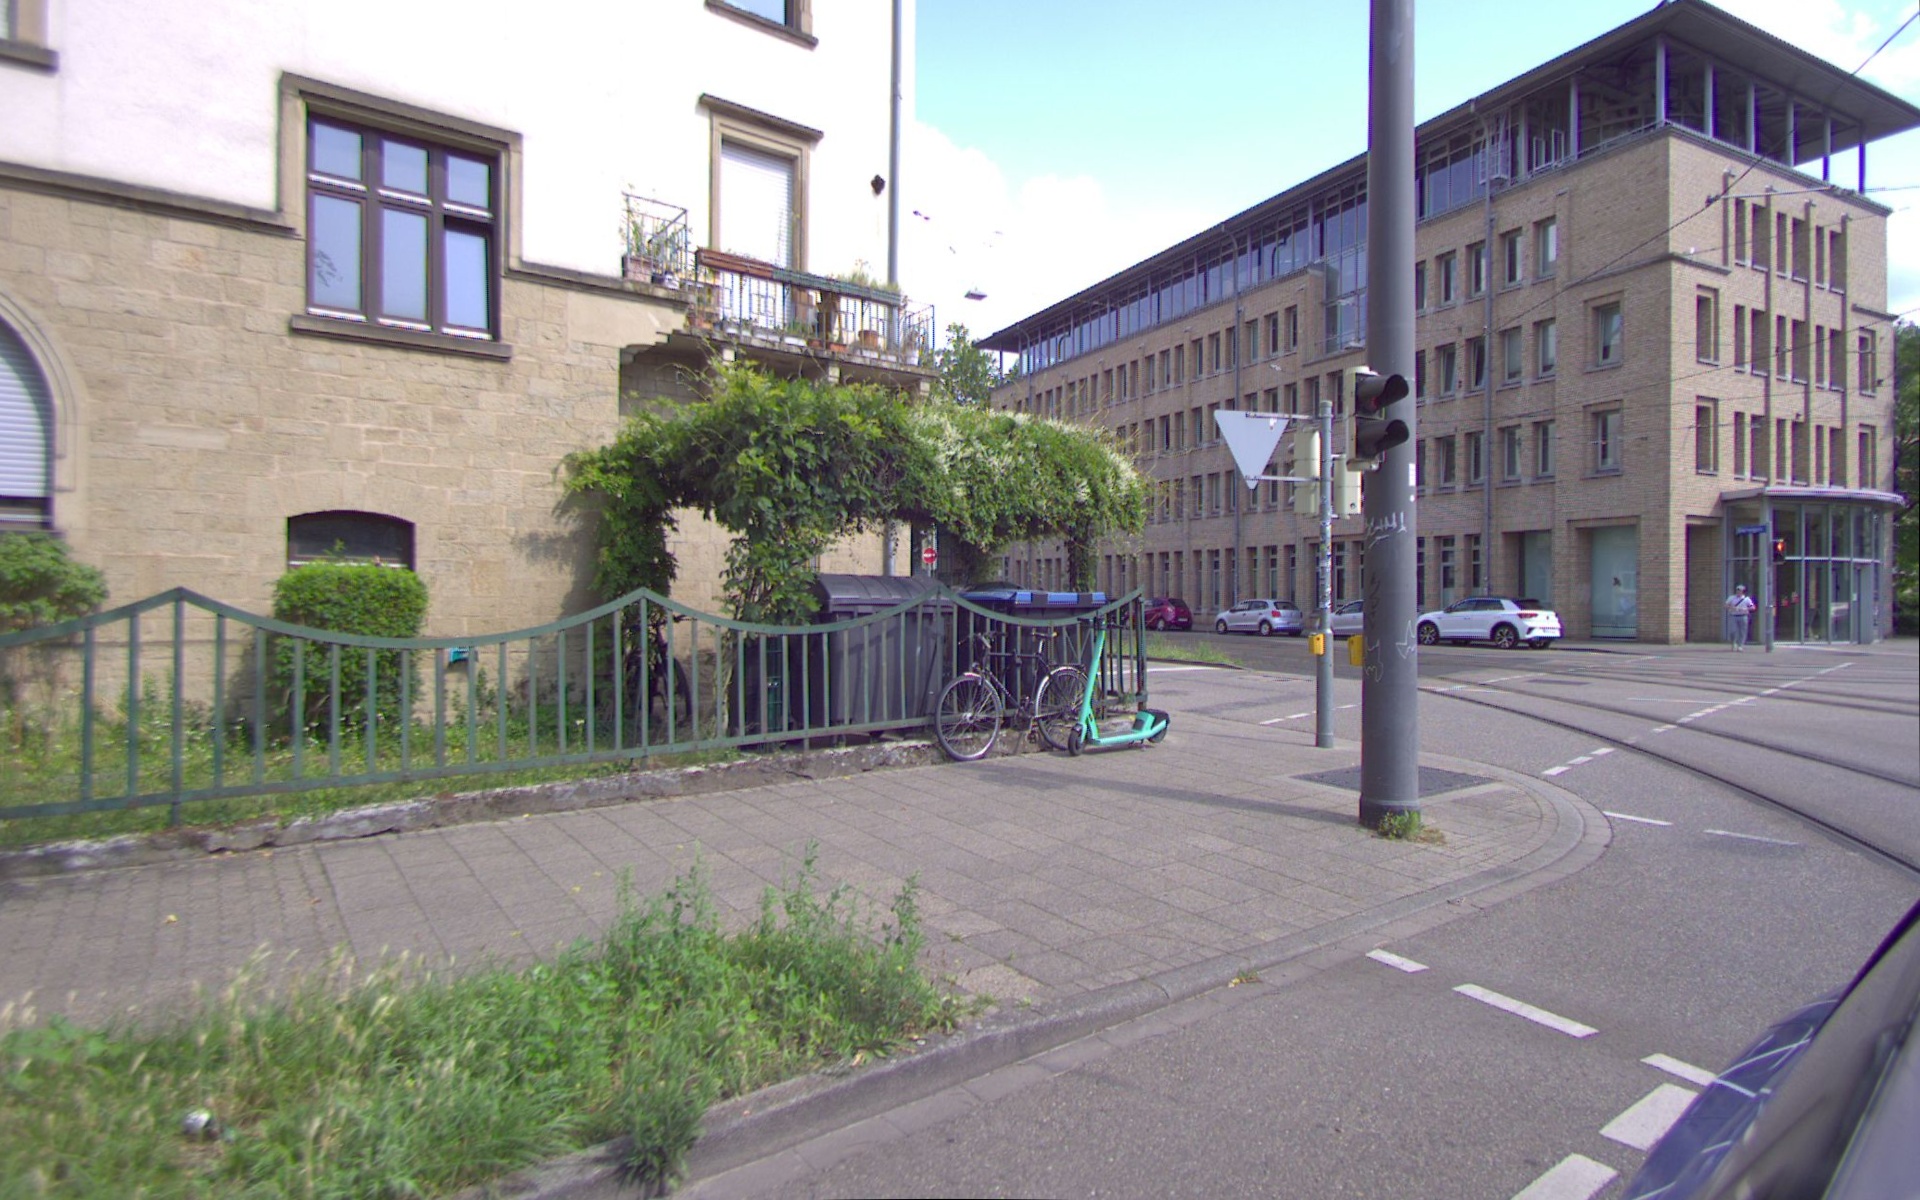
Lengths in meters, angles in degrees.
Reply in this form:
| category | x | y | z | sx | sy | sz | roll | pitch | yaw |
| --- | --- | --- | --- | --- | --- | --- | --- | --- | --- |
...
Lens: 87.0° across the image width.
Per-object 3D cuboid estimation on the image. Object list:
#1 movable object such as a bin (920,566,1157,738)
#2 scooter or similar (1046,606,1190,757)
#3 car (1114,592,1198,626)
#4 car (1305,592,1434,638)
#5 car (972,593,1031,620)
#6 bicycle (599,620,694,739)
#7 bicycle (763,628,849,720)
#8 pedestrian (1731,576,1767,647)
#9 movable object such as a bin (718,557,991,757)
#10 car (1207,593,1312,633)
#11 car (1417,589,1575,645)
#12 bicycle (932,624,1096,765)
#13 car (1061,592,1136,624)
| category | x | y | z | sx | sy | sz | roll | pitch | yaw |
| --- | --- | --- | --- | --- | --- | --- | --- | --- | --- |
| movable object such as a bin | 0.782 | 0.449 | 10.004 | 1.962 | 1.511 | 1.306 | 0 | 0 | -36 |
| scooter or similar | 1.378 | 0.667 | 8.774 | 1.165 | 1.193 | 0.522 | 0 | 2 | -35 |
| car | 8.739 | 0.388 | 45.418 | 1.642 | 1.440 | 4.007 | 1 | 0 | -26 |
| car | 13.903 | 0.474 | 34.561 | 1.642 | 1.440 | 4.007 | 1 | 0 | -26 |
| car | 2.328 | 0.372 | 57.917 | 1.642 | 1.440 | 4.007 | 1 | 0 | -26 |
| bicycle | -2.985 | 0.713 | 9.587 | 0.445 | 1.015 | 1.315 | 0 | 0 | -37 |
| bicycle | -1.712 | 0.794 | 11.182 | 0.445 | 0.912 | 1.170 | 0 | 0 | -37 |
| pedestrian | 21.153 | 0.303 | 27.149 | 0.732 | 1.866 | 0.796 | -1 | 0 | 38 |
| movable object such as a bin | -0.907 | 0.417 | 8.749 | 1.962 | 1.511 | 1.306 | 0 | 0 | -36 |
| car | 11.572 | 0.475 | 39.320 | 1.642 | 1.440 | 4.007 | 2 | 0 | -26 |
| car | 15.991 | 0.457 | 30.416 | 1.642 | 1.567 | 4.007 | 1 | 0 | -26 |
| bicycle | 0.469 | 0.739 | 8.363 | 1.454 | 1.035 | 0.350 | 0 | 3 | -38 |
| car | 6.679 | 0.341 | 49.125 | 1.642 | 1.440 | 4.007 | -1 | 1 | -26 |
